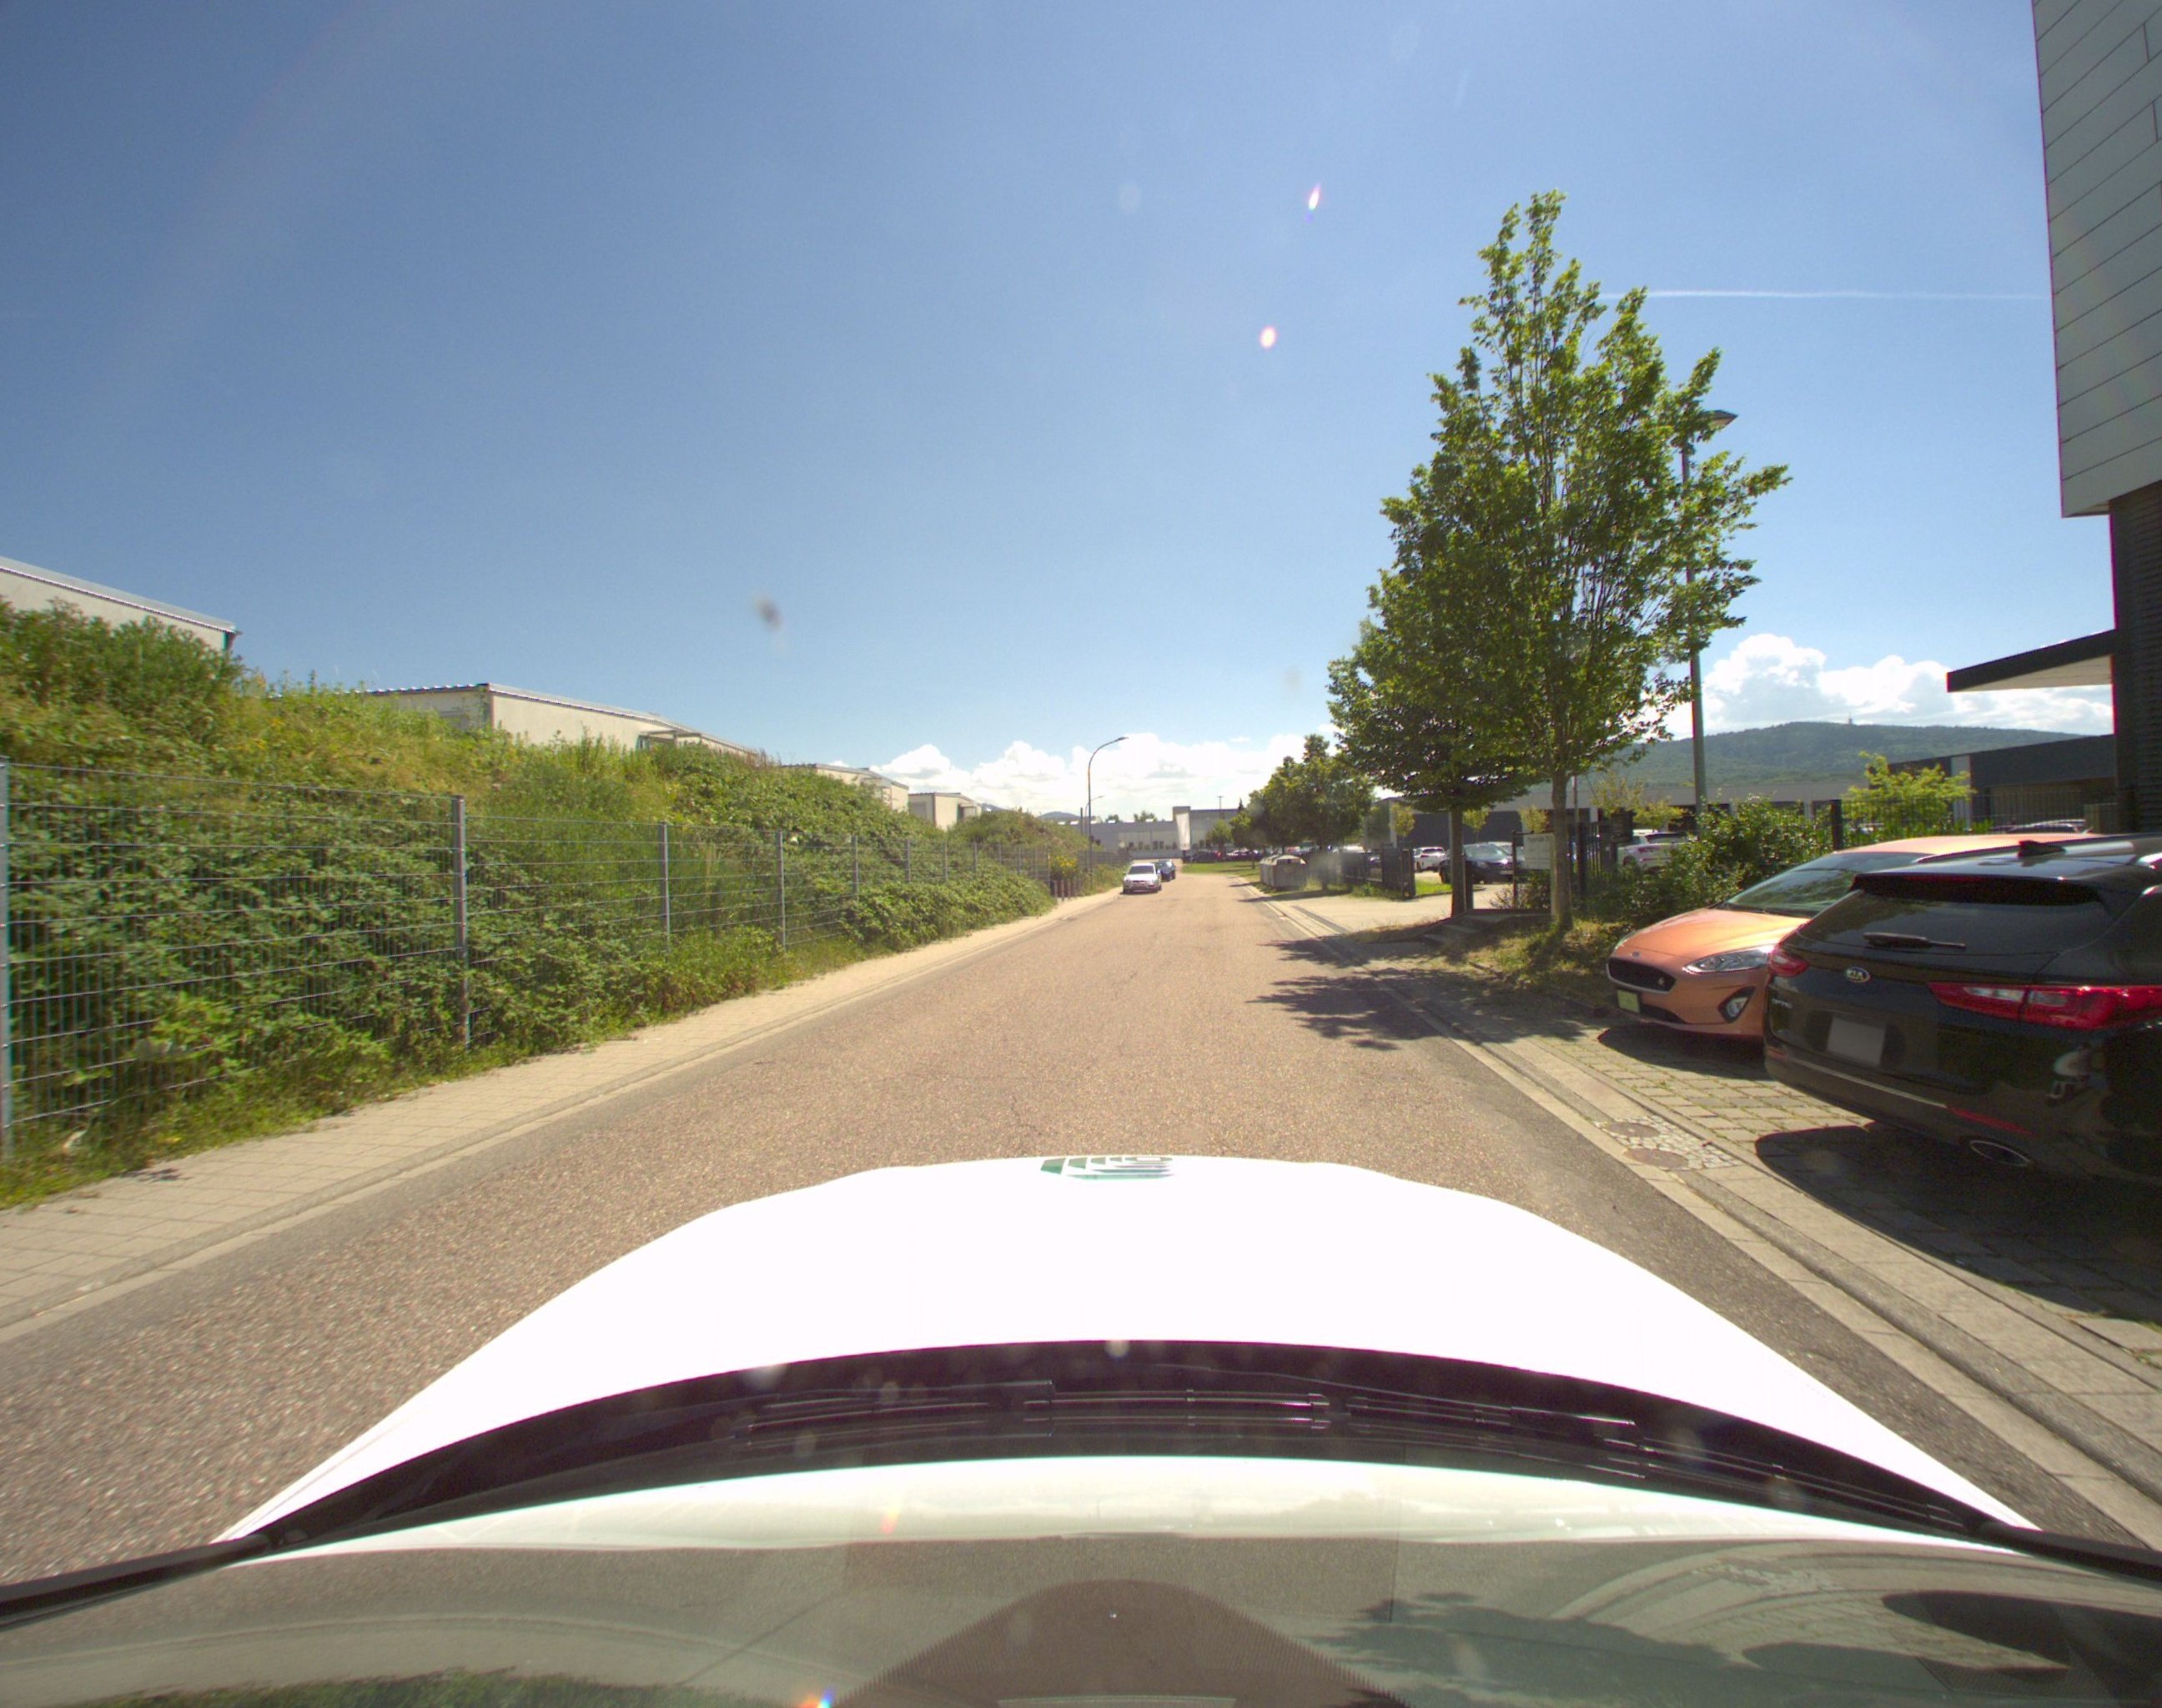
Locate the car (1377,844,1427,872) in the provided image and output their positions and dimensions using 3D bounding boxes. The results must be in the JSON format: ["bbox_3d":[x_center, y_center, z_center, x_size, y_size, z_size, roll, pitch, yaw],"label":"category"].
[{"bbox_3d":[19.988,0.202,50.930,1.780,1.531,4.430,-3,1,7],"label":"car"}]

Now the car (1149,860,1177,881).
[{"bbox_3d":[6.534,1.286,64.597,1.823,1.546,4.275,-3,-1,9],"label":"car"}]

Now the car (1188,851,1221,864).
[{"bbox_3d":[15.316,0.442,100.924,3.966,1.398,2.004,-3,-3,7],"label":"car"}]

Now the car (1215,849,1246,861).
[{"bbox_3d":[20.377,0.098,111.053,3.966,1.398,2.004,-3,-3,7],"label":"car"}]

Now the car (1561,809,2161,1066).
[{"bbox_3d":[6.109,0.546,6.041,3.966,1.495,1.727,-4,-2,6],"label":"car"}]

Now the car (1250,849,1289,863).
[{"bbox_3d":[23.027,0.276,99.455,4.414,1.398,2.004,-3,-3,7],"label":"car"}]

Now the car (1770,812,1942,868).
[{"bbox_3d":[26.575,-0.412,28.193,1.901,1.623,4.523,-3,-3,6],"label":"car"}]

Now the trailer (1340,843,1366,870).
[{"bbox_3d":[22.249,0.197,66.714,1.484,2.006,3.274,-3,2,10],"label":"trailer"}]

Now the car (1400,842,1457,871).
[{"bbox_3d":[19.427,0.178,45.726,1.780,1.433,4.150,-3,-3,7],"label":"car"}]

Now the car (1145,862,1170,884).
[{"bbox_3d":[5.606,1.359,59.334,1.647,1.417,4.153,-3,-1,7],"label":"car"}]

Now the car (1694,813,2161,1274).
[{"bbox_3d":[5.187,0.554,3.449,3.693,1.495,1.785,-4,-1,6],"label":"car"}]

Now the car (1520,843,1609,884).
[{"bbox_3d":[20.110,0.362,34.068,1.637,1.492,4.031,-3,1,6],"label":"car"}]

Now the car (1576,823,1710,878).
[{"bbox_3d":[19.559,-0.052,28.653,1.830,1.654,4.658,-3,-3,6],"label":"car"}]

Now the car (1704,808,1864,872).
[{"bbox_3d":[24.279,-0.406,28.390,1.901,1.900,4.523,-3,-3,6],"label":"car"}]

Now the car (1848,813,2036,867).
[{"bbox_3d":[29.288,-0.409,27.955,1.901,1.533,4.523,-3,-3,6],"label":"car"}]

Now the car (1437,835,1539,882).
[{"bbox_3d":[14.446,0.223,29.183,1.780,1.455,4.417,-3,-3,6],"label":"car"}]

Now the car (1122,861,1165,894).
[{"bbox_3d":[3.297,1.201,42.394,1.823,1.546,4.378,-3,-1,9],"label":"car"}]

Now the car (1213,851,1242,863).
[{"bbox_3d":[20.465,0.477,113.879,3.966,1.398,2.004,-3,-3,7],"label":"car"}]

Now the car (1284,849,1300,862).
[{"bbox_3d":[33.775,0.278,130.531,1.982,1.827,4.009,-3,-3,8],"label":"car"}]

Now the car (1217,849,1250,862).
[{"bbox_3d":[19.689,0.225,105.131,3.966,1.398,2.004,-3,-3,7],"label":"car"}]
